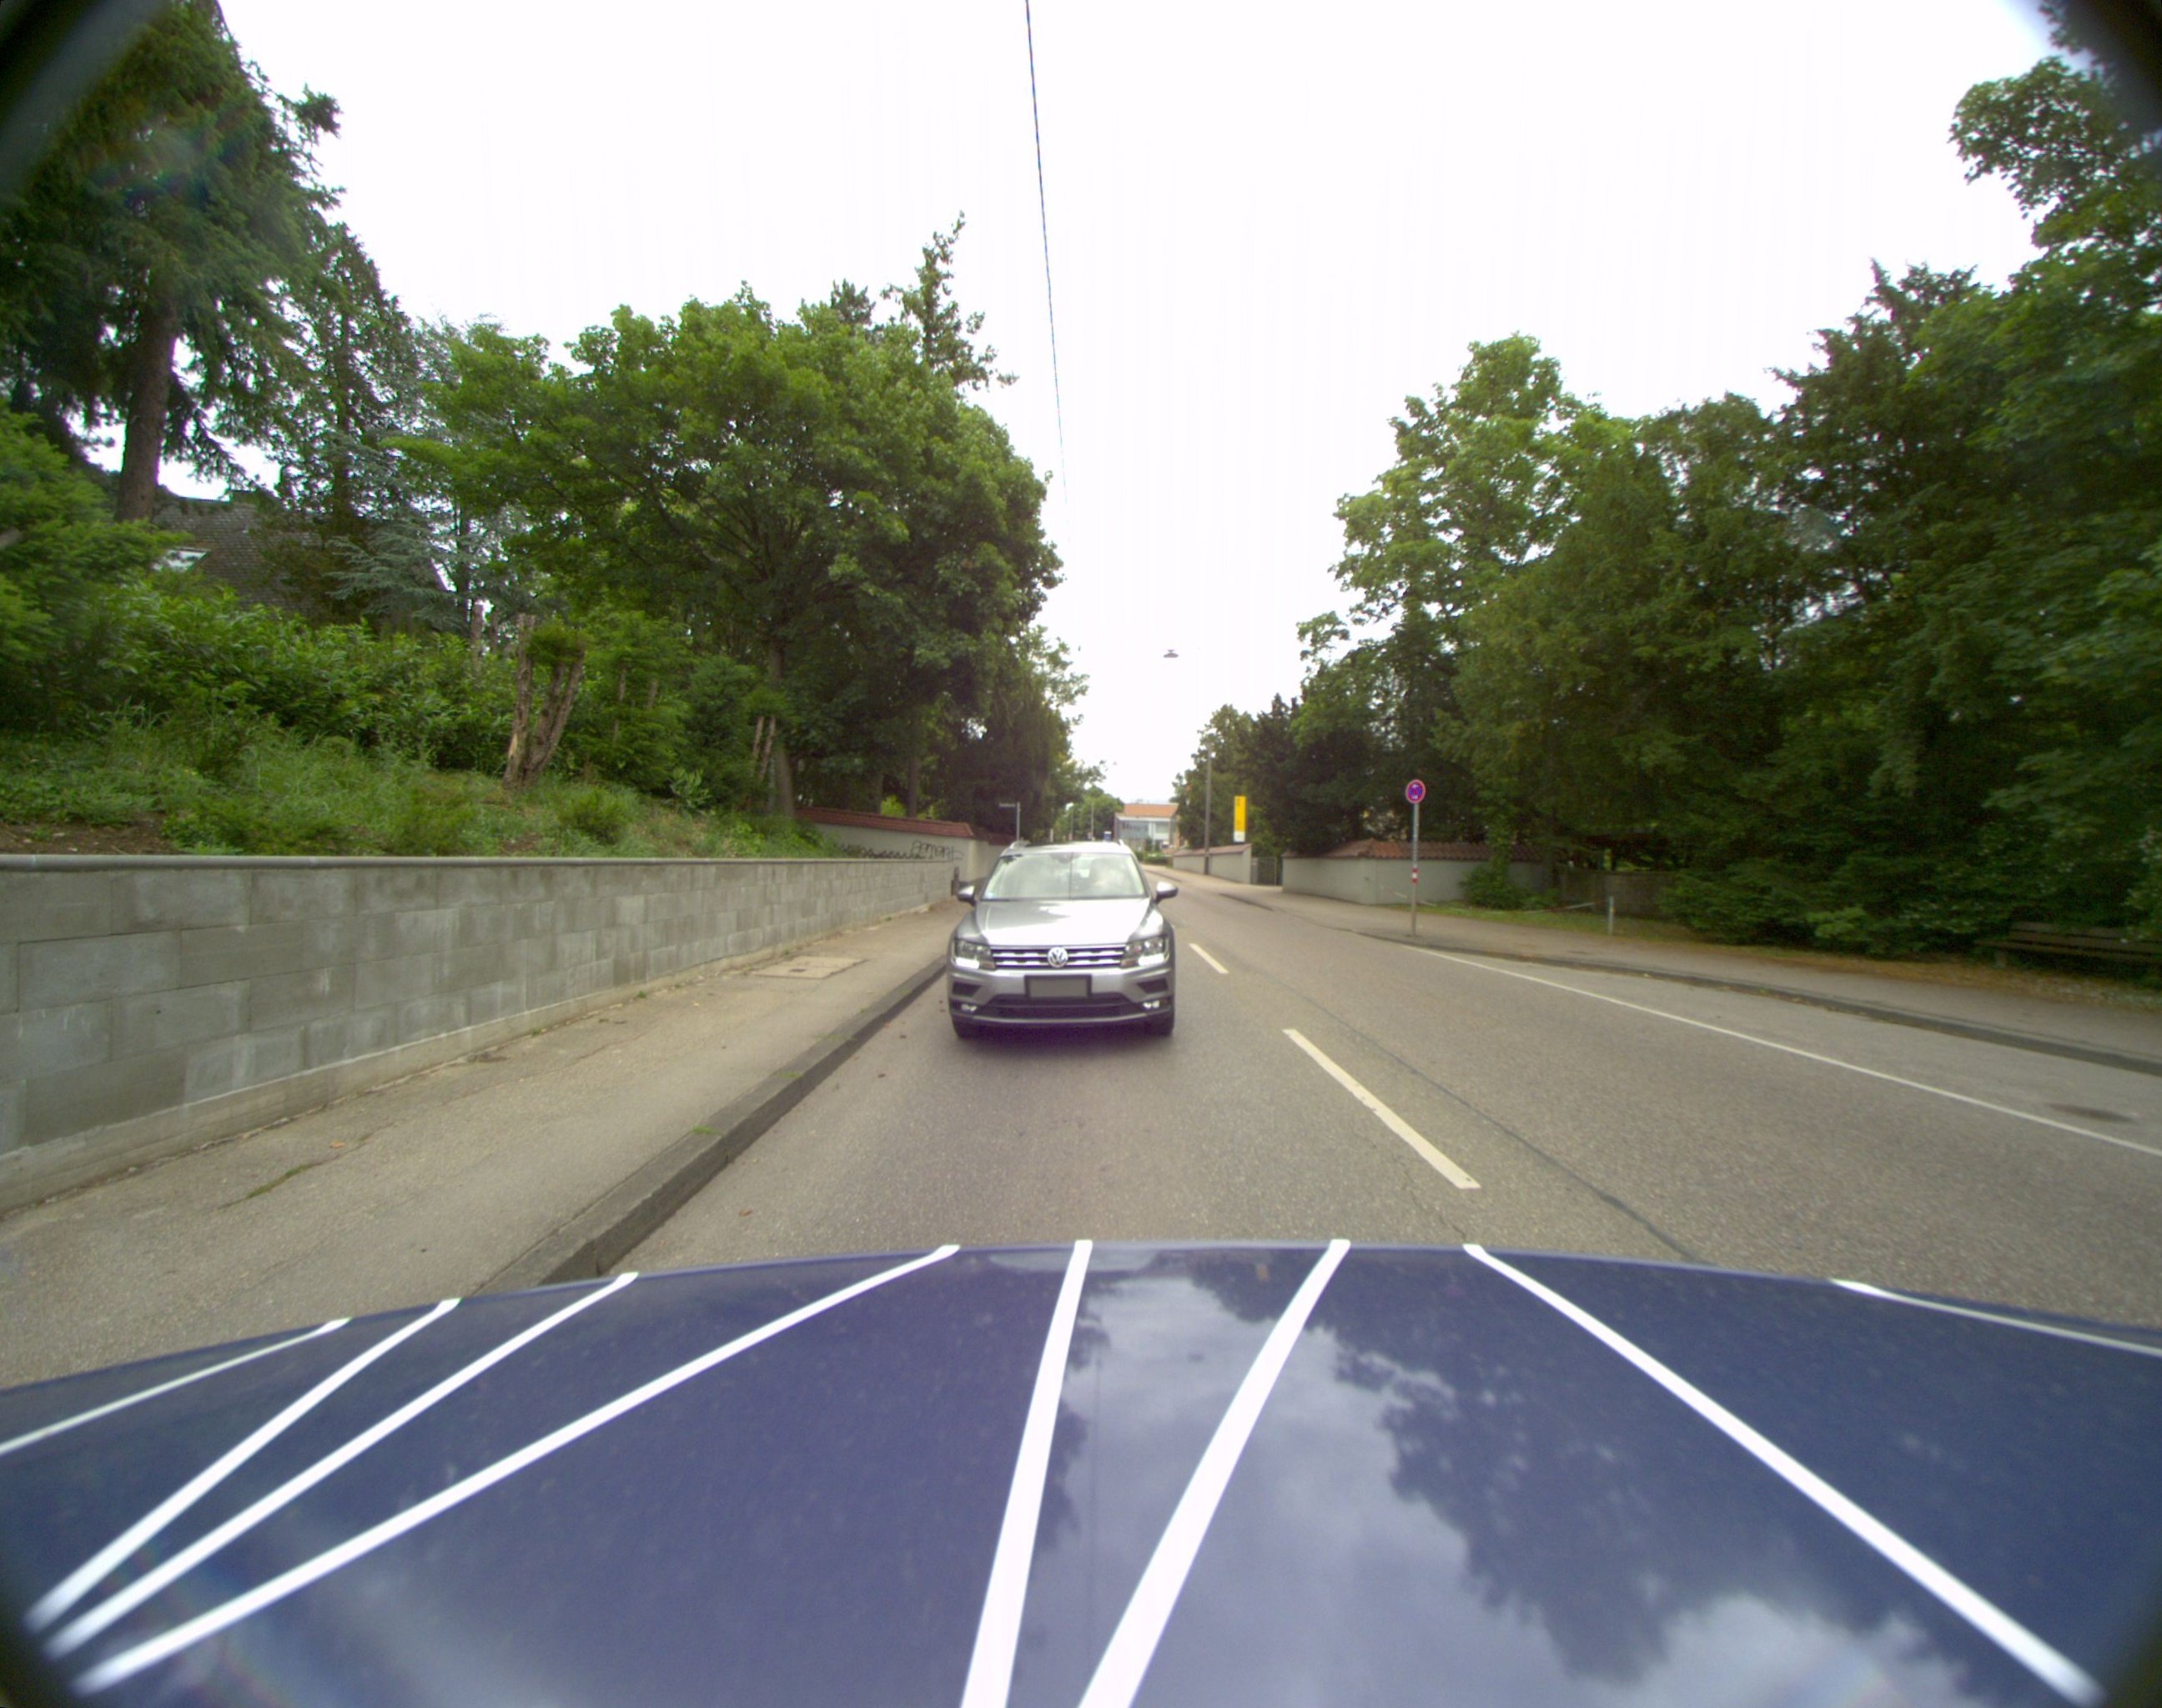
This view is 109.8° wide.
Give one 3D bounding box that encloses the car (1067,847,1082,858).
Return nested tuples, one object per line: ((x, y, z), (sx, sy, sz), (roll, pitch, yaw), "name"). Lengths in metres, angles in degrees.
((-1.135, -0.243, 124.073), (1.878, 1.647, 4.251), (0, 1, -9), "car")

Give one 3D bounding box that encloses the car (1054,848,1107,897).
((-0.013, 0.601, 28.095), (1.820, 1.647, 4.487), (0, 1, 0), "car")

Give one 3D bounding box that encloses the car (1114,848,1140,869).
((3.719, 0.327, 62.371), (1.877, 1.647, 4.255), (0, 1, 0), "car")

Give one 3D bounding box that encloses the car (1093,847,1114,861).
((2.709, 0.035, 92.031), (1.878, 1.647, 4.252), (0, 1, -8), "car")

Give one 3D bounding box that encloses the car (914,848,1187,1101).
((-0.195, 0.806, 7.522), (1.820, 1.690, 4.718), (-1, 0, 0), "car")
